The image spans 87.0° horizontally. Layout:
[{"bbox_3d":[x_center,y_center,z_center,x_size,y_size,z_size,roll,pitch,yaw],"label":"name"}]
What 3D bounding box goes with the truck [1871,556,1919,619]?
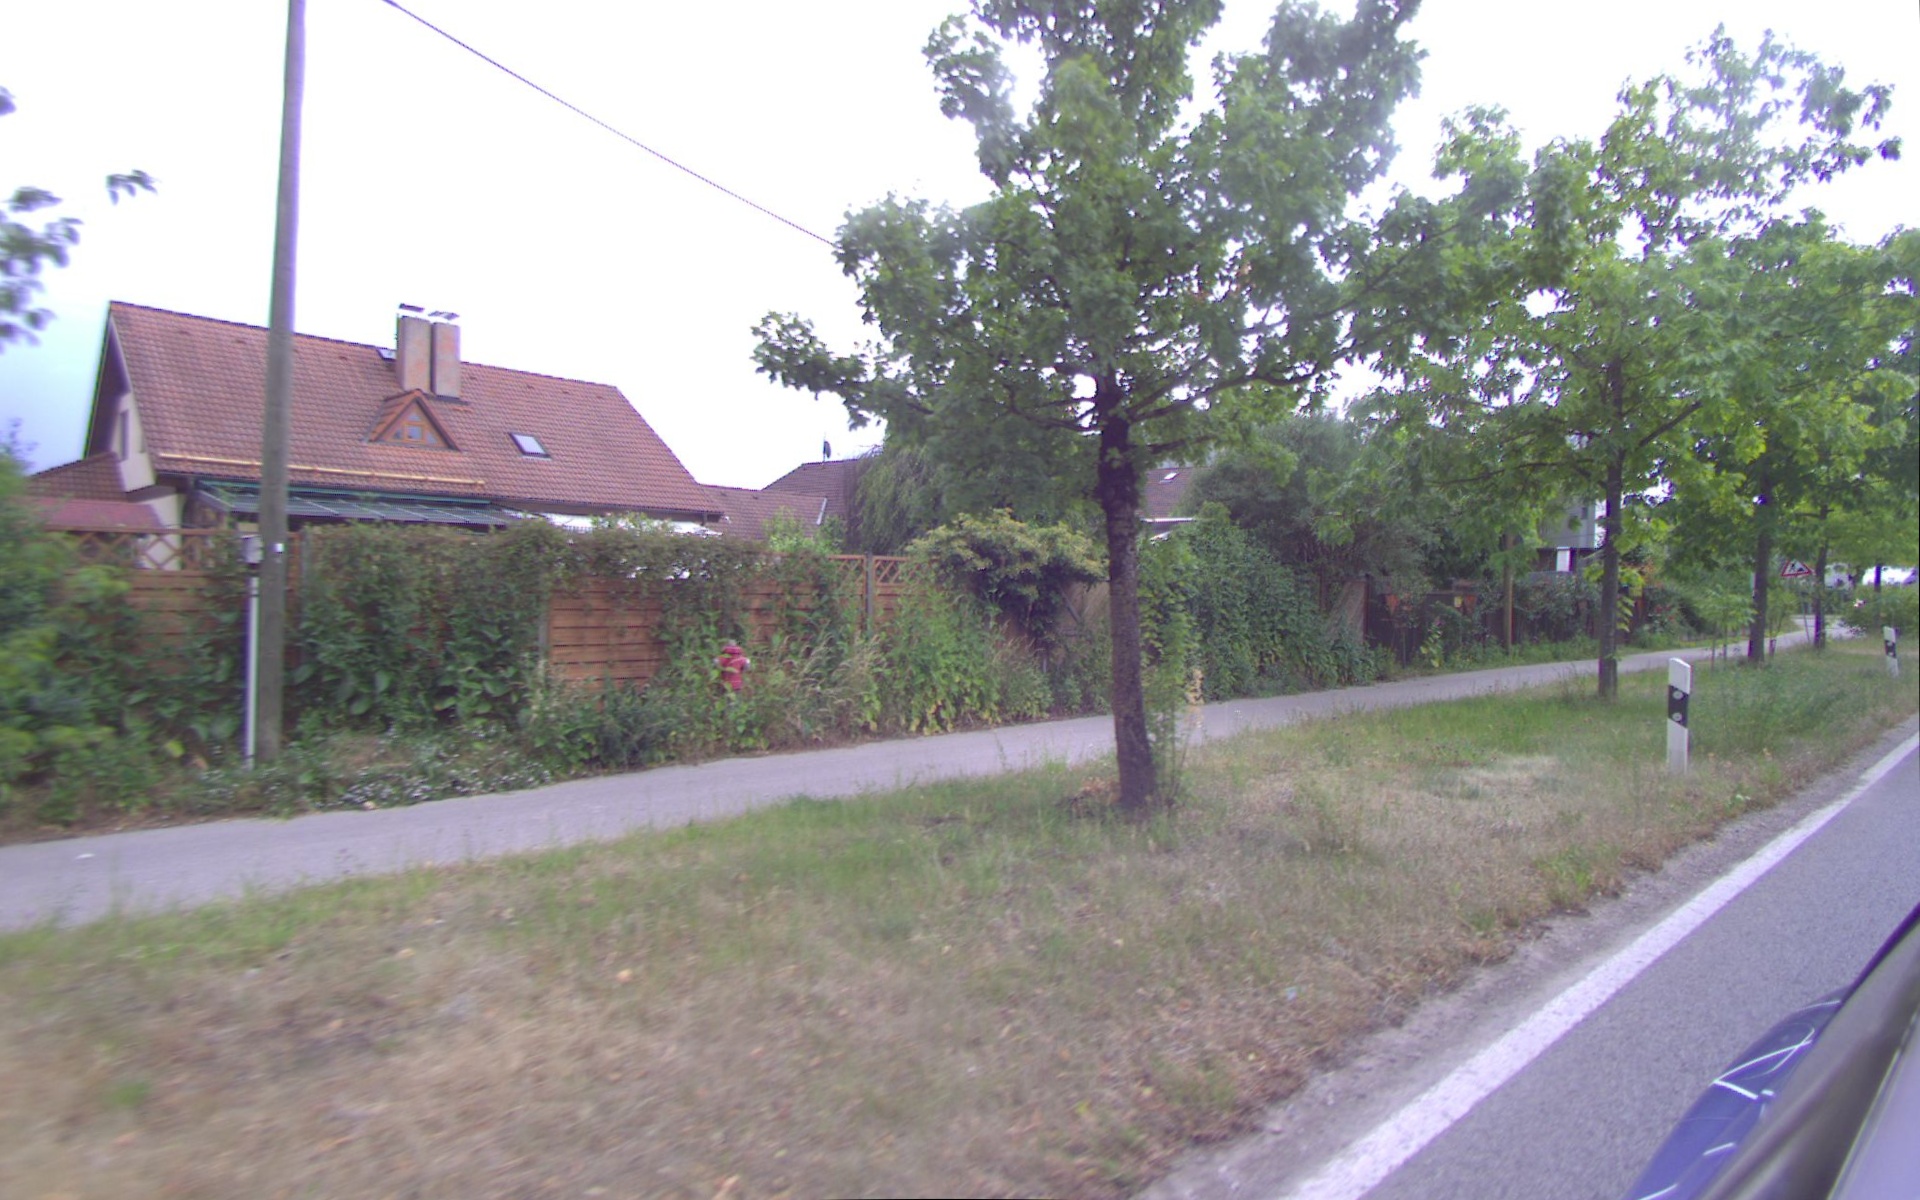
[{"bbox_3d":[56.421,-0.710,59.227,7.358,3.491,2.618,0,0,-31],"label":"truck"}]
